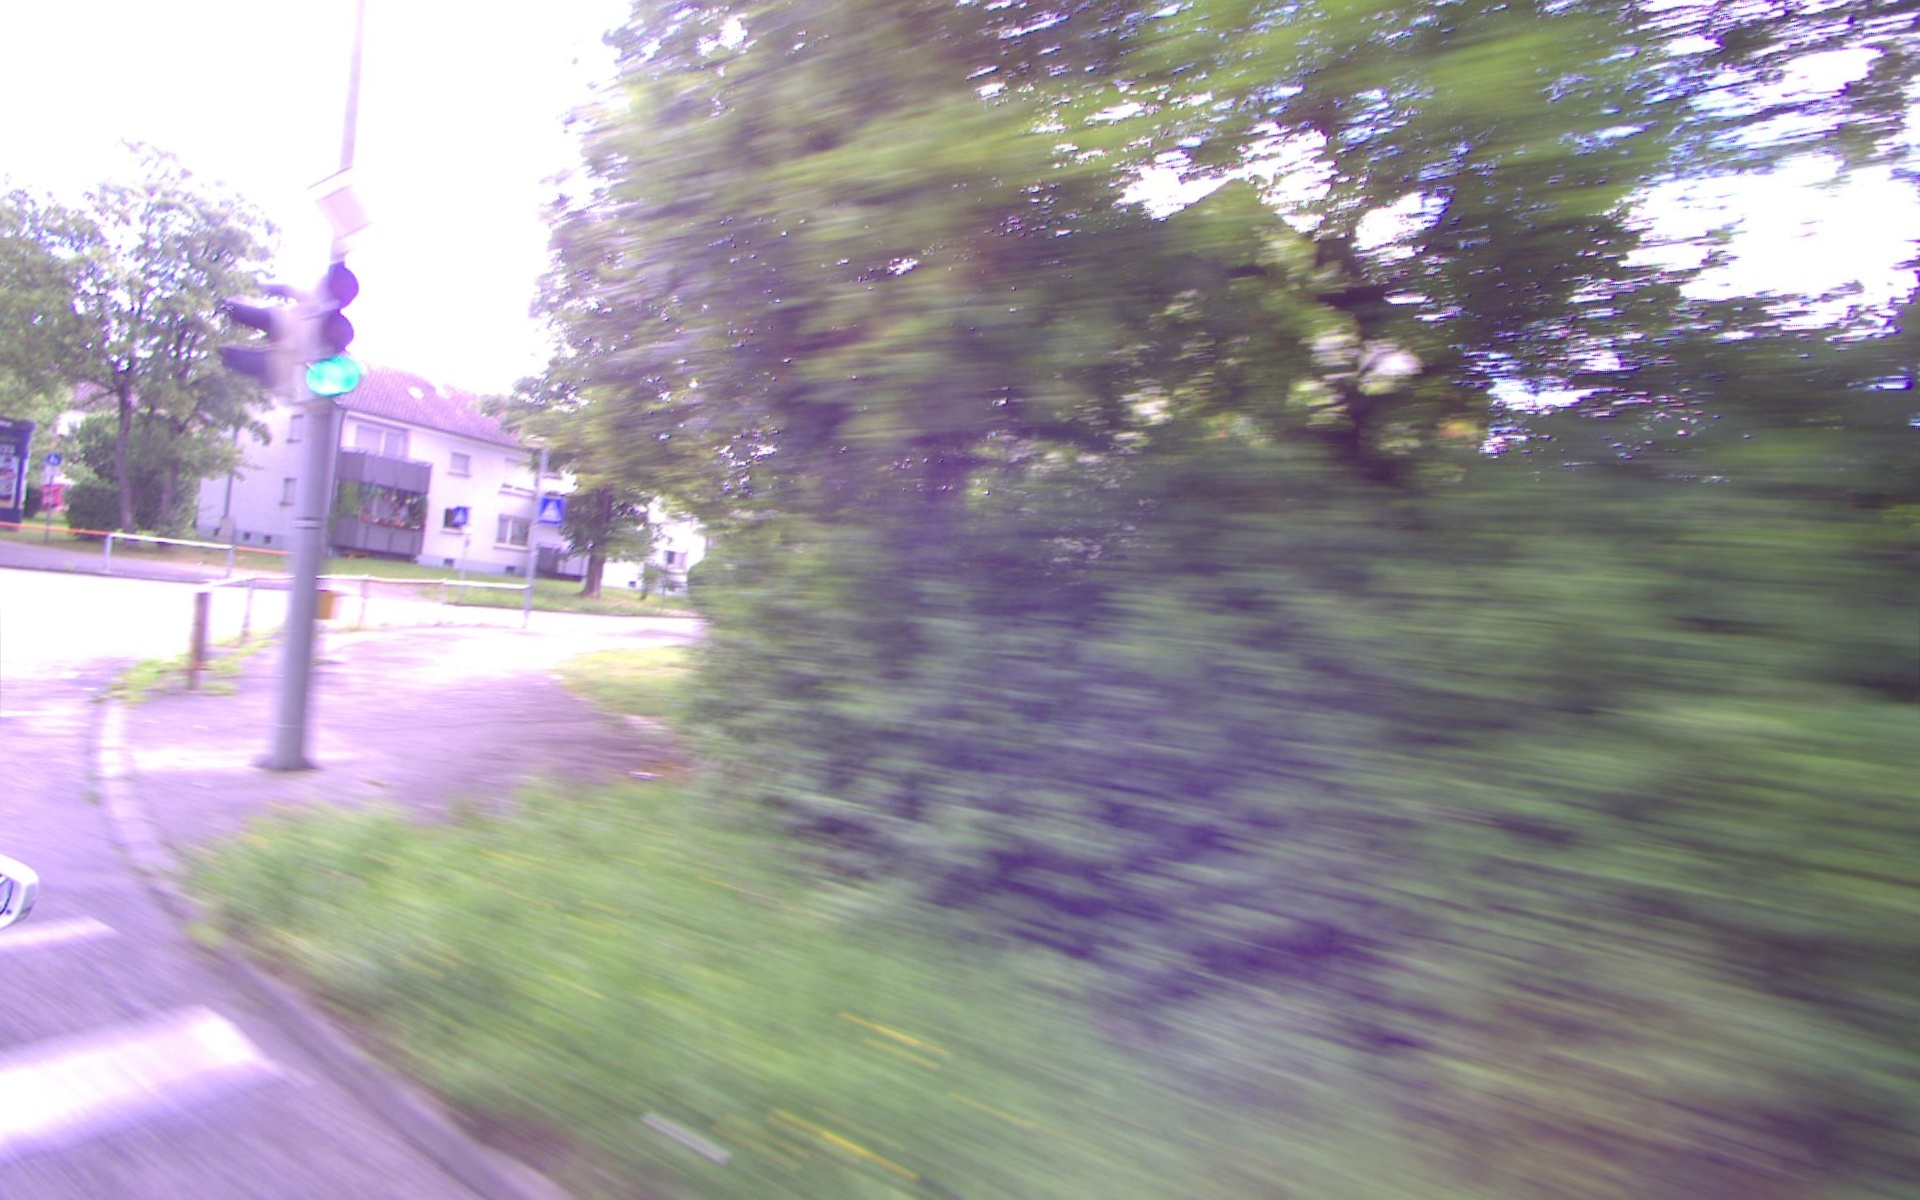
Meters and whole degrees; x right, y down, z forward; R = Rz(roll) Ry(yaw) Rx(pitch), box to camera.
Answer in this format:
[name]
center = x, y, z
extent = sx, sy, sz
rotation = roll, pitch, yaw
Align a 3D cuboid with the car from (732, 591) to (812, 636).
[car]
center = -7.261, 0.556, 39.255
extent = 1.606, 1.482, 3.777
rotation = 6, -1, 13
